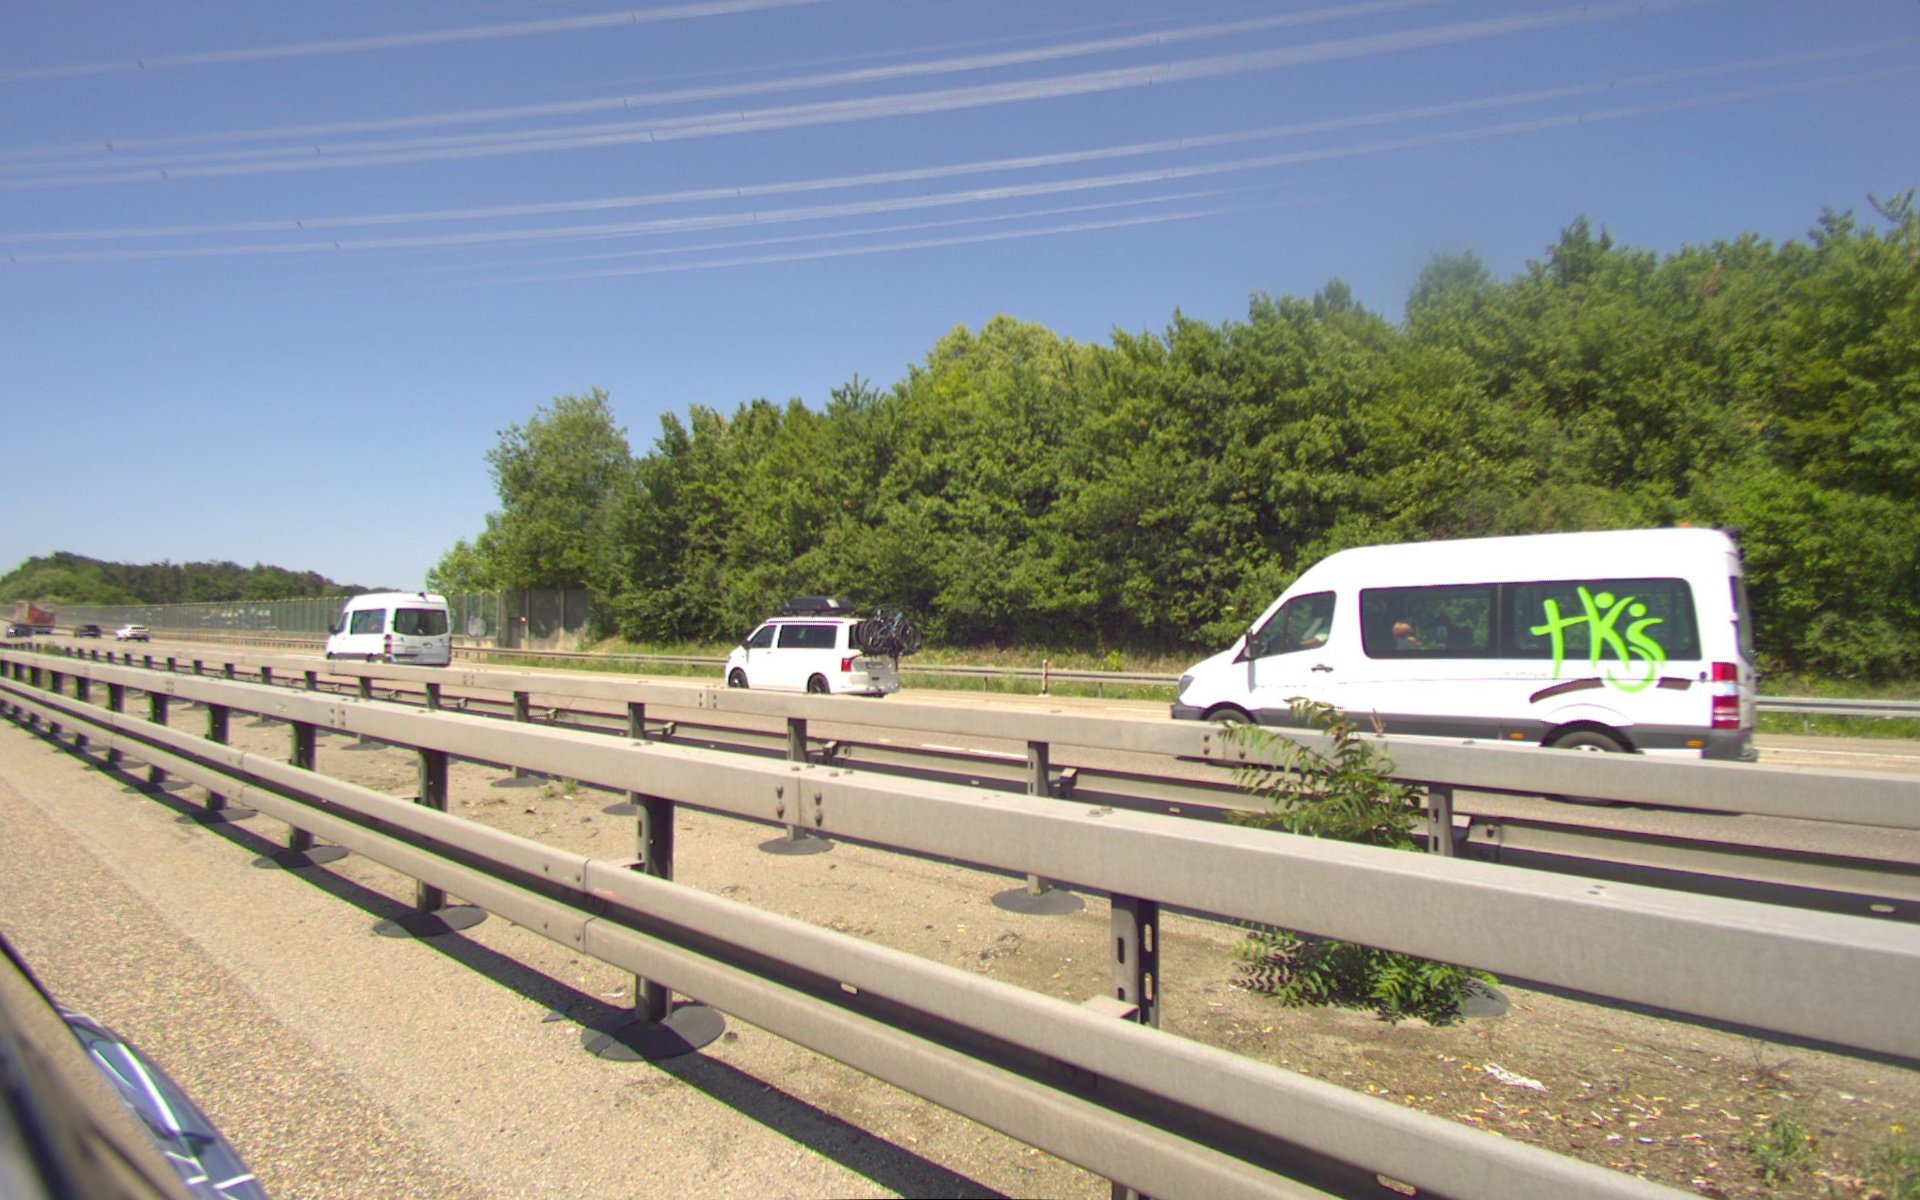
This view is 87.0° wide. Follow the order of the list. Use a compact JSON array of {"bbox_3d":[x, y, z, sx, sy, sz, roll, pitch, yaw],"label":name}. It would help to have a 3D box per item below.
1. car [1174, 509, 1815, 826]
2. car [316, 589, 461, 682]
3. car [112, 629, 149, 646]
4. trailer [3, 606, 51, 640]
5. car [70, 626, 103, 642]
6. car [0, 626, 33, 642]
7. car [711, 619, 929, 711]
[{"bbox_3d":[5.491,0.598,11.077,5.887,2.613,2.133,0,-2,41],"label":"car"},{"bbox_3d":[-18.247,1.121,32.174,5.837,2.671,2.031,-1,-5,41],"label":"car"},{"bbox_3d":[-75.327,3.384,91.896,4.340,1.467,1.669,-1,-3,39],"label":"car"},{"bbox_3d":[-115.805,2.959,125.469,14.674,4.007,2.734,-2,-4,41],"label":"trailer"},{"bbox_3d":[-93.897,3.667,108.781,5.273,1.588,1.972,0,0,42],"label":"car"},{"bbox_3d":[-90.954,3.285,97.539,4.142,1.457,1.857,0,-3,40],"label":"car"},{"bbox_3d":[-3.416,1.452,23.896,5.488,1.919,1.846,0,-3,40],"label":"car"}]
